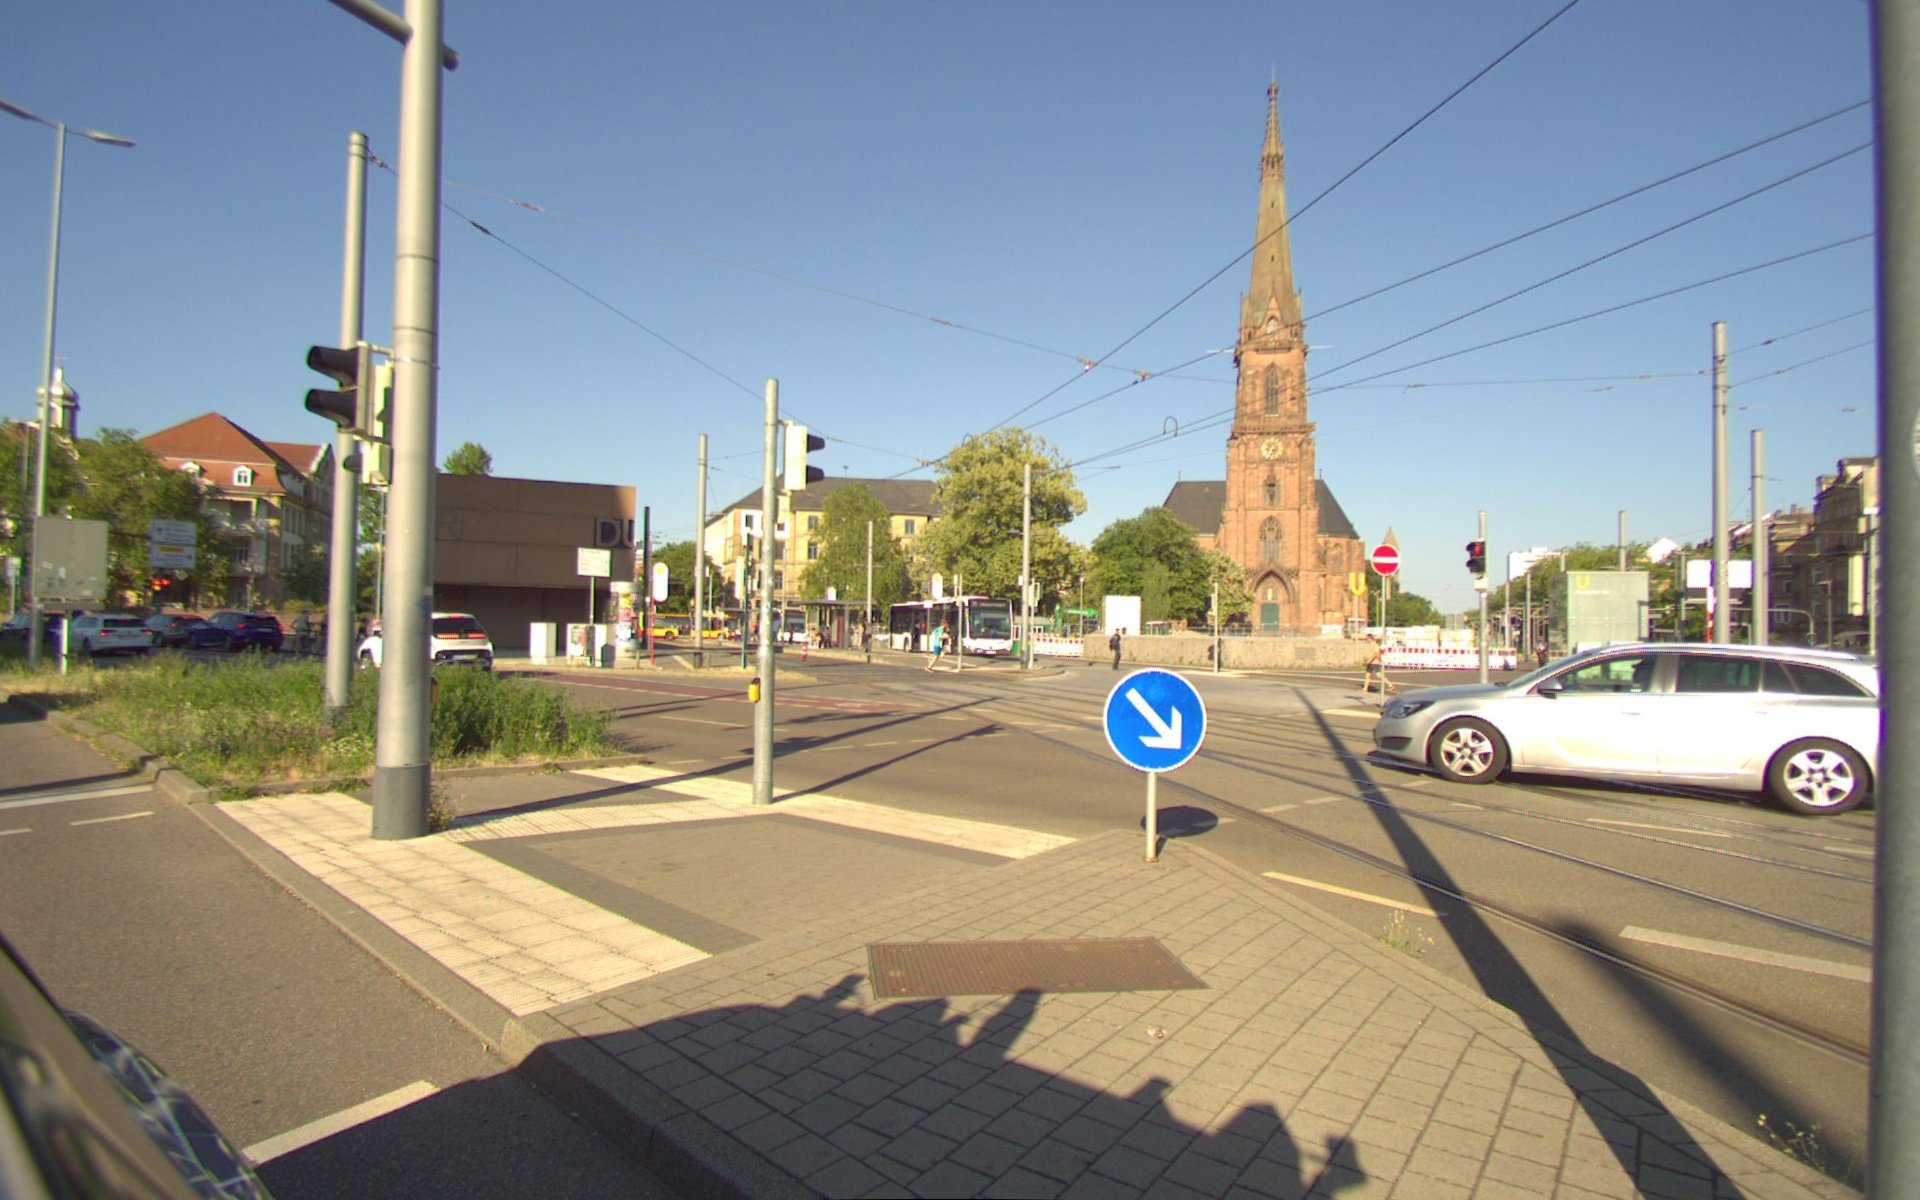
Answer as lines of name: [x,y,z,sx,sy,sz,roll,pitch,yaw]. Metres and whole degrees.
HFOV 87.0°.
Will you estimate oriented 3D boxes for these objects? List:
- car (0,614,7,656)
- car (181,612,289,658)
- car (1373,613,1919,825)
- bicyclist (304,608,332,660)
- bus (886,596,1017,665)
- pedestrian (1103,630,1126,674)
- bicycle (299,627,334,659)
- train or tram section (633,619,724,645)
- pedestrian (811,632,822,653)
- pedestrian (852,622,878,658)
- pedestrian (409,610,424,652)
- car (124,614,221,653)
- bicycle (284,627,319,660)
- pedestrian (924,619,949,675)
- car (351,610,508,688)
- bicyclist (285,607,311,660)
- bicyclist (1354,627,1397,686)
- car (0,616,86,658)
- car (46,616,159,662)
car: [-36.381,1.246,36.376,4.166,1.471,1.741,0,0,26]
car: [-28.989,1.379,40.452,4.167,1.703,1.741,0,-2,27]
car: [6.715,0.996,9.978,4.703,1.674,1.767,0,0,31]
bicyclist: [-25.026,1.320,39.452,0.706,2.029,0.605,0,-2,27]
bus: [-0.781,1.405,52.850,2.655,3.174,12.216,0,0,-22]
pedestrian: [6.260,2.096,41.105,0.702,1.771,0.585,1,0,-28]
bicycle: [-25.101,1.667,39.480,1.389,1.201,0.460,0,0,25]
train or tram section: [-32.089,3.637,115.774,9.950,2.946,2.005,0,0,-11]
pedestrian: [-8.478,2.509,59.702,0.531,1.196,0.660,0,0,-19]
pedestrian: [-4.717,1.970,50.128,1.025,1.696,1.007,0,0,-23]
pedestrian: [-26.804,1.510,49.909,0.645,2.029,0.470,1,0,-28]
car: [-33.929,1.424,43.591,4.378,1.503,1.830,0,-4,32]
bicycle: [-25.276,1.664,38.814,1.389,1.201,0.460,0,0,25]
pedestrian: [-0.829,1.640,35.411,0.787,1.911,0.611,1,-2,-7]
car: [-12.681,1.096,24.127,3.993,1.674,1.764,0,0,37]
bicyclist: [-25.383,1.276,38.809,0.563,2.029,0.605,0,-2,27]
bicyclist: [12.203,1.655,29.749,0.963,1.696,0.668,0,0,-15]
car: [-35.759,1.405,39.193,4.175,1.471,1.737,0,0,32]
car: [-30.533,1.341,36.012,4.378,1.503,1.830,0,0,32]
